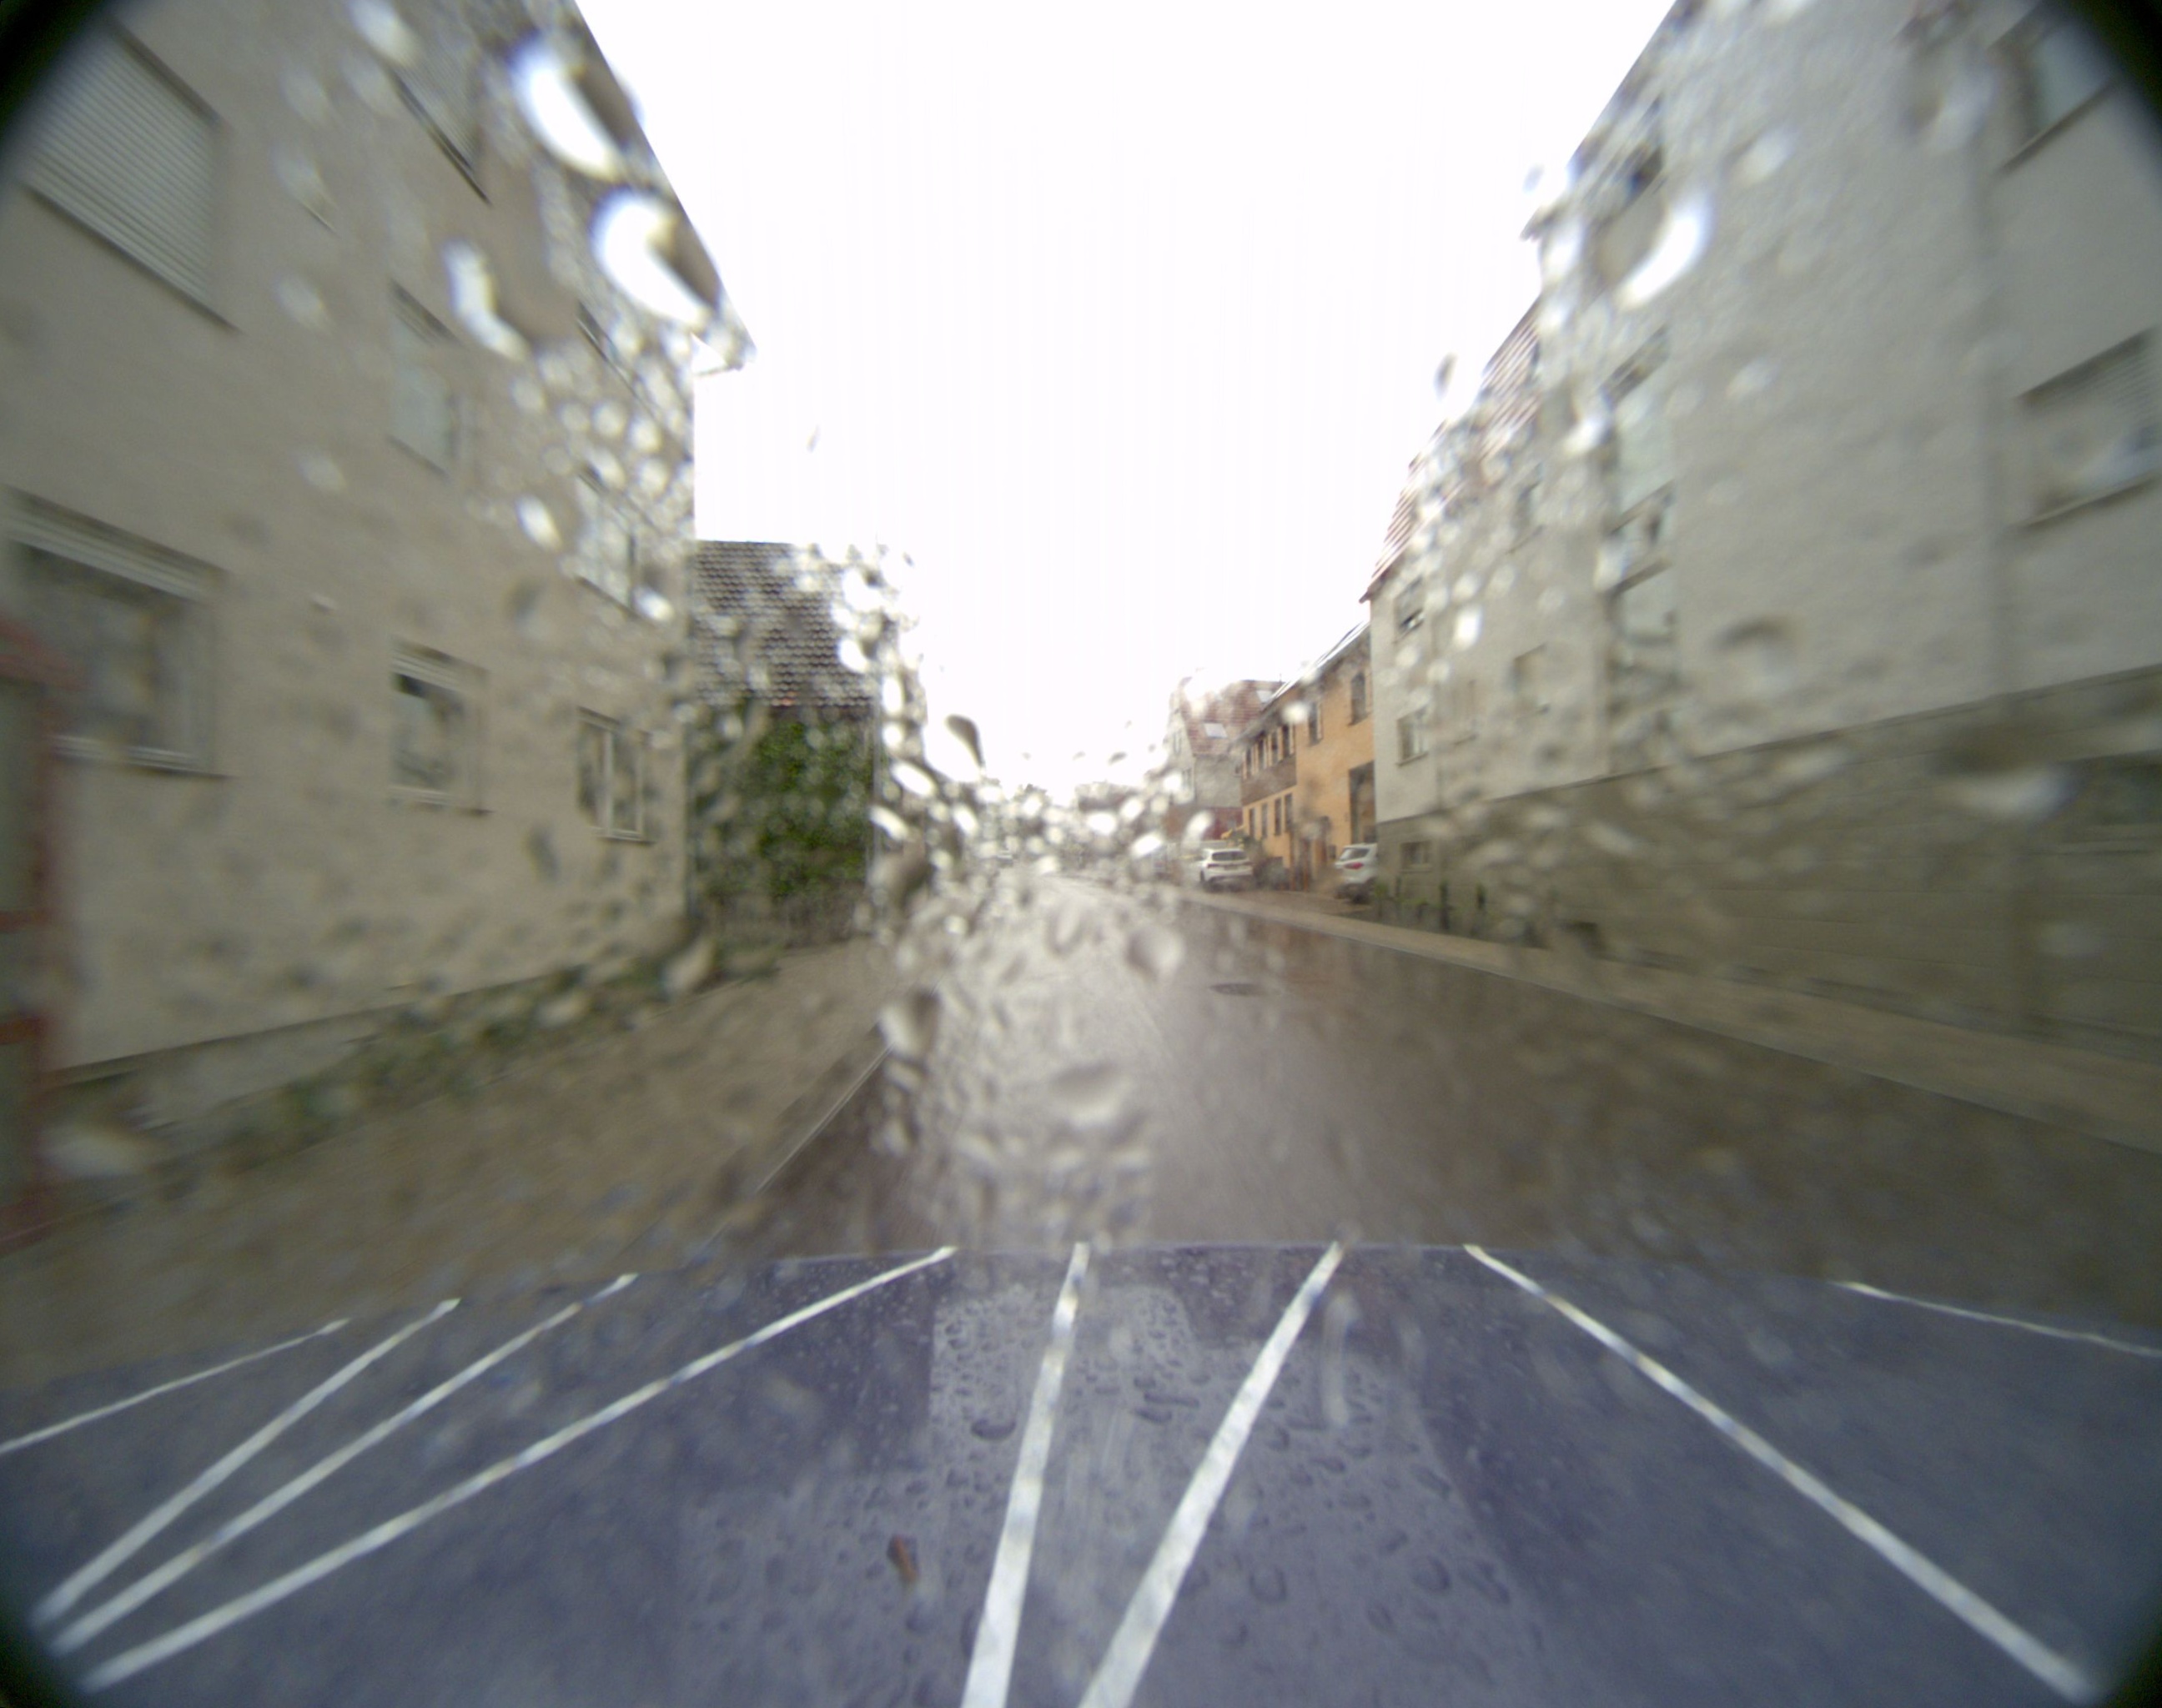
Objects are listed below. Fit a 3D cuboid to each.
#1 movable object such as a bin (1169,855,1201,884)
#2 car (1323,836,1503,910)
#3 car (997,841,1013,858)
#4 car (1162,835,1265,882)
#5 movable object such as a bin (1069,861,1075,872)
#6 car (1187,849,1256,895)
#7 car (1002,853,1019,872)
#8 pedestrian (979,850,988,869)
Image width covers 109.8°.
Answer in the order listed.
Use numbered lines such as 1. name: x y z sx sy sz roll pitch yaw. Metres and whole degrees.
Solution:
1. movable object such as a bin: 4.863 0.718 35.646 1.290 1.360 0.996 0 0 -8
2. car: 8.926 0.489 20.666 3.998 1.660 1.877 -4 1 -4
3. car: -10.028 -0.573 100.407 1.712 2.089 3.937 -2 1 -10
4. car: 6.623 0.225 38.108 4.524 1.967 1.998 -4 -1 -14
5. movable object such as a bin: -0.865 1.158 72.339 0.522 1.020 0.414 0 1 -5
6. car: 5.604 0.659 30.782 1.818 1.696 4.616 -1 0 -1
7. car: -7.779 0.923 84.122 1.828 1.964 4.514 0 1 -5
8. pedestrian: -8.052 0.478 62.743 0.656 1.572 0.436 1 1 -6
